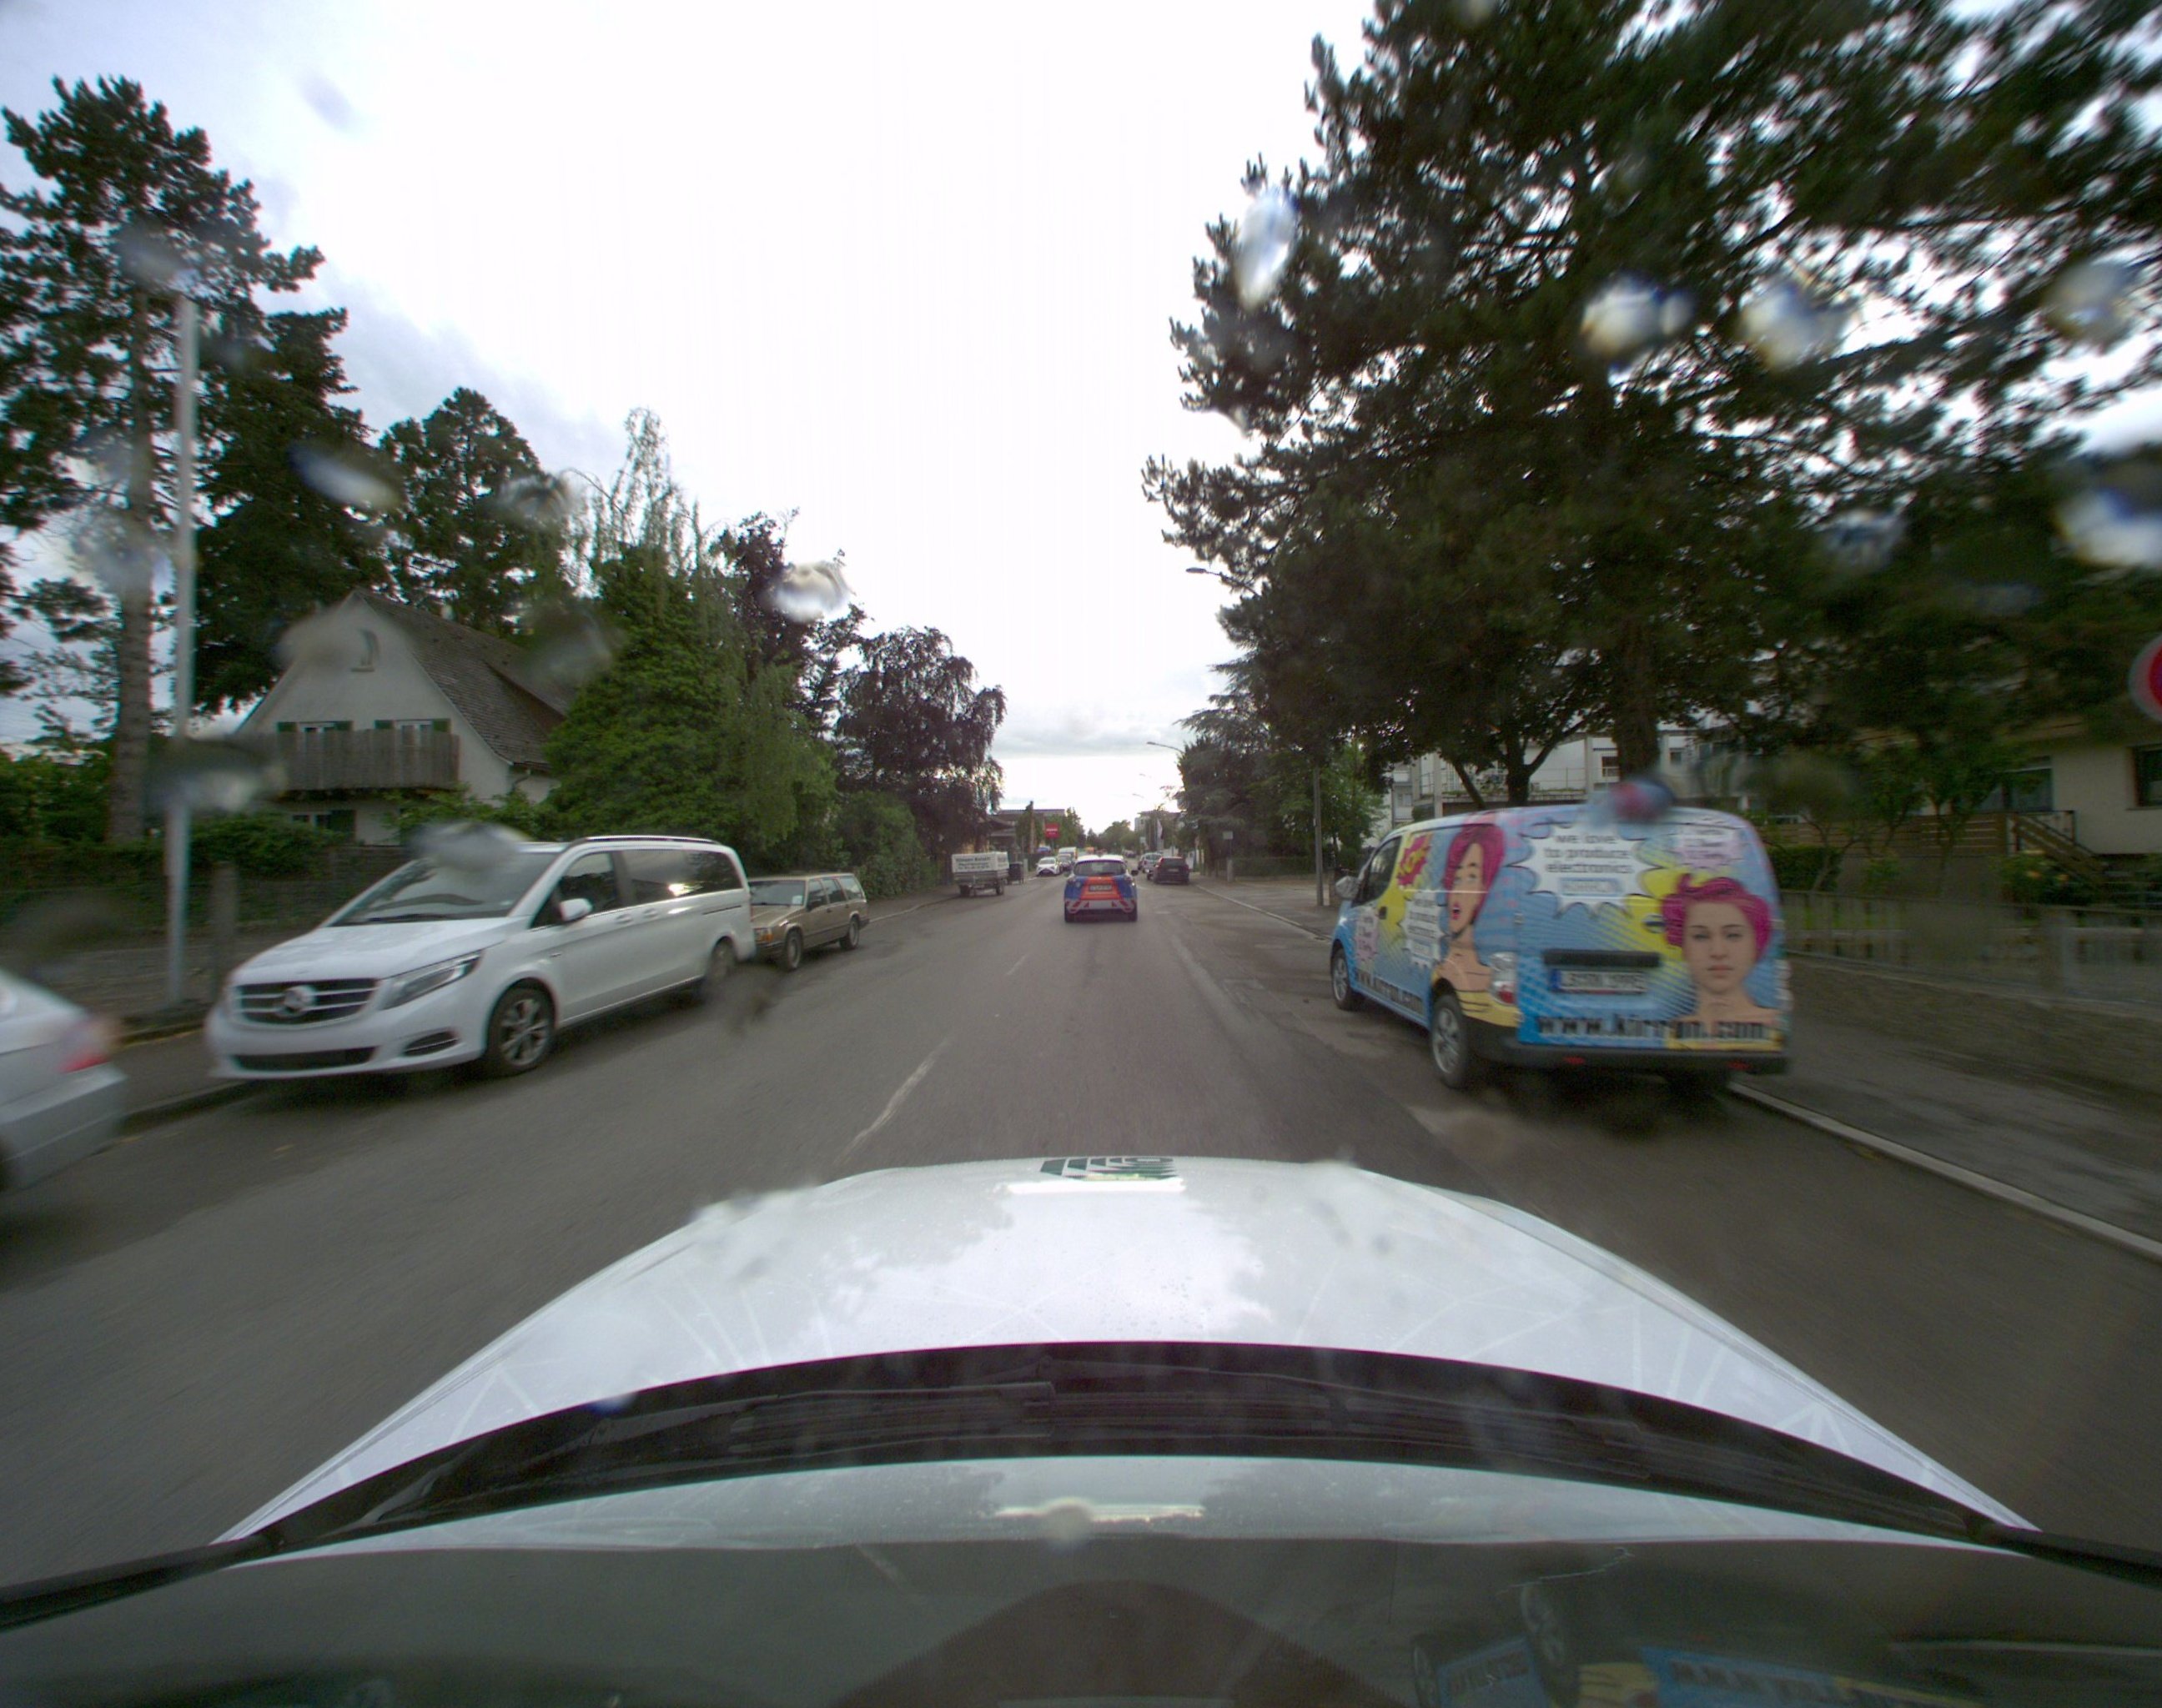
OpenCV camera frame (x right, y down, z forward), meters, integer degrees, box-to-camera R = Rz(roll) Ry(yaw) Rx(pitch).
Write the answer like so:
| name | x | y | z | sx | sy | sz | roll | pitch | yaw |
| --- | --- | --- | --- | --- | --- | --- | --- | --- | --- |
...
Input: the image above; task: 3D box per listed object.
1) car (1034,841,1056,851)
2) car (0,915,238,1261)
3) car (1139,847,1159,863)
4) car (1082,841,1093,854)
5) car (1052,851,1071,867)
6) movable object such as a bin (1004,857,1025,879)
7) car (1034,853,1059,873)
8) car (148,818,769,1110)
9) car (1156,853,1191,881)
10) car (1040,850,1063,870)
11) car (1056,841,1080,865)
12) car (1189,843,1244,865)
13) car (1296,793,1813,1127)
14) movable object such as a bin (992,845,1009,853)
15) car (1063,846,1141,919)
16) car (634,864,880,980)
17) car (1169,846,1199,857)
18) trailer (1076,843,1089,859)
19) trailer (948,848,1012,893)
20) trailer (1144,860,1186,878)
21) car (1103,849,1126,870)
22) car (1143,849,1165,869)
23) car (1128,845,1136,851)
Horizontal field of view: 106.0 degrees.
| name | x | y | z | sx | sy | sz | roll | pitch | yaw |
| --- | --- | --- | --- | --- | --- | --- | --- | --- | --- |
| car | -7.126 | -1.636 | 161.138 | 4.289 | 2.013 | 2.064 | 0 | 0 | 2 |
| car | -5.369 | 1.041 | 1.956 | 1.632 | 1.365 | 4.709 | -2 | 0 | 2 |
| car | 6.538 | 0.101 | 78.498 | 1.732 | 1.466 | 4.548 | 0 | 0 | 2 |
| car | 1.283 | -1.243 | 159.987 | 2.117 | 2.537 | 6.023 | -1 | 0 | 1 |
| car | -1.926 | 0.482 | 80.211 | 1.655 | 1.448 | 4.318 | -2 | 0 | 1 |
| movable object such as a bin | -4.006 | 0.834 | 49.515 | 1.096 | 1.310 | 1.426 | 0 | 0 | 2 |
| car | -2.770 | 0.724 | 65.918 | 1.610 | 1.509 | 3.663 | -2 | 0 | 3 |
| car | -5.178 | 0.732 | 8.059 | 1.885 | 1.892 | 5.214 | -2 | 0 | 3 |
| car | 4.950 | 0.679 | 44.171 | 1.732 | 1.433 | 4.654 | 0 | 0 | 4 |
| car | -2.554 | 0.502 | 70.950 | 1.655 | 1.584 | 3.918 | -3 | 0 | 2 |
| car | -1.445 | -0.132 | 92.441 | 2.149 | 2.427 | 6.464 | -4 | 0 | 2 |
| car | 12.267 | -0.008 | 73.984 | 4.713 | 1.886 | 2.001 | 0 | 0 | 2 |
| car | 3.385 | 0.576 | 7.357 | 1.724 | 1.828 | 5.558 | 1 | 0 | 4 |
| movable object such as a bin | -16.859 | -1.029 | 170.590 | 3.415 | 1.759 | 1.997 | 0 | 0 | -4 |
| car | 0.520 | 0.634 | 20.116 | 1.725 | 1.630 | 3.496 | -1 | 0 | 1 |
| car | -4.999 | 0.950 | 13.499 | 1.809 | 1.427 | 4.985 | -2 | 0 | 3 |
| car | 14.540 | -0.363 | 114.848 | 3.973 | 1.430 | 1.631 | -1 | 0 | 0 |
| trailer | 0.189 | -0.513 | 129.848 | 1.806 | 2.313 | 4.732 | -3 | 1 | 2 |
| trailer | -4.252 | 0.641 | 34.938 | 1.922 | 1.765 | 4.552 | 0 | 0 | 3 |
| trailer | 5.130 | 0.870 | 50.627 | 2.165 | 0.897 | 6.640 | 0 | 1 | 2 |
| car | 2.459 | 0.411 | 60.552 | 1.644 | 1.521 | 4.000 | 0 | 0 | 1 |
| car | 6.129 | 0.433 | 68.535 | 1.731 | 1.621 | 4.378 | 0 | 0 | 4 |
| car | 11.409 | -1.255 | 181.818 | 1.584 | 1.341 | 4.093 | 0 | 0 | 1 |
